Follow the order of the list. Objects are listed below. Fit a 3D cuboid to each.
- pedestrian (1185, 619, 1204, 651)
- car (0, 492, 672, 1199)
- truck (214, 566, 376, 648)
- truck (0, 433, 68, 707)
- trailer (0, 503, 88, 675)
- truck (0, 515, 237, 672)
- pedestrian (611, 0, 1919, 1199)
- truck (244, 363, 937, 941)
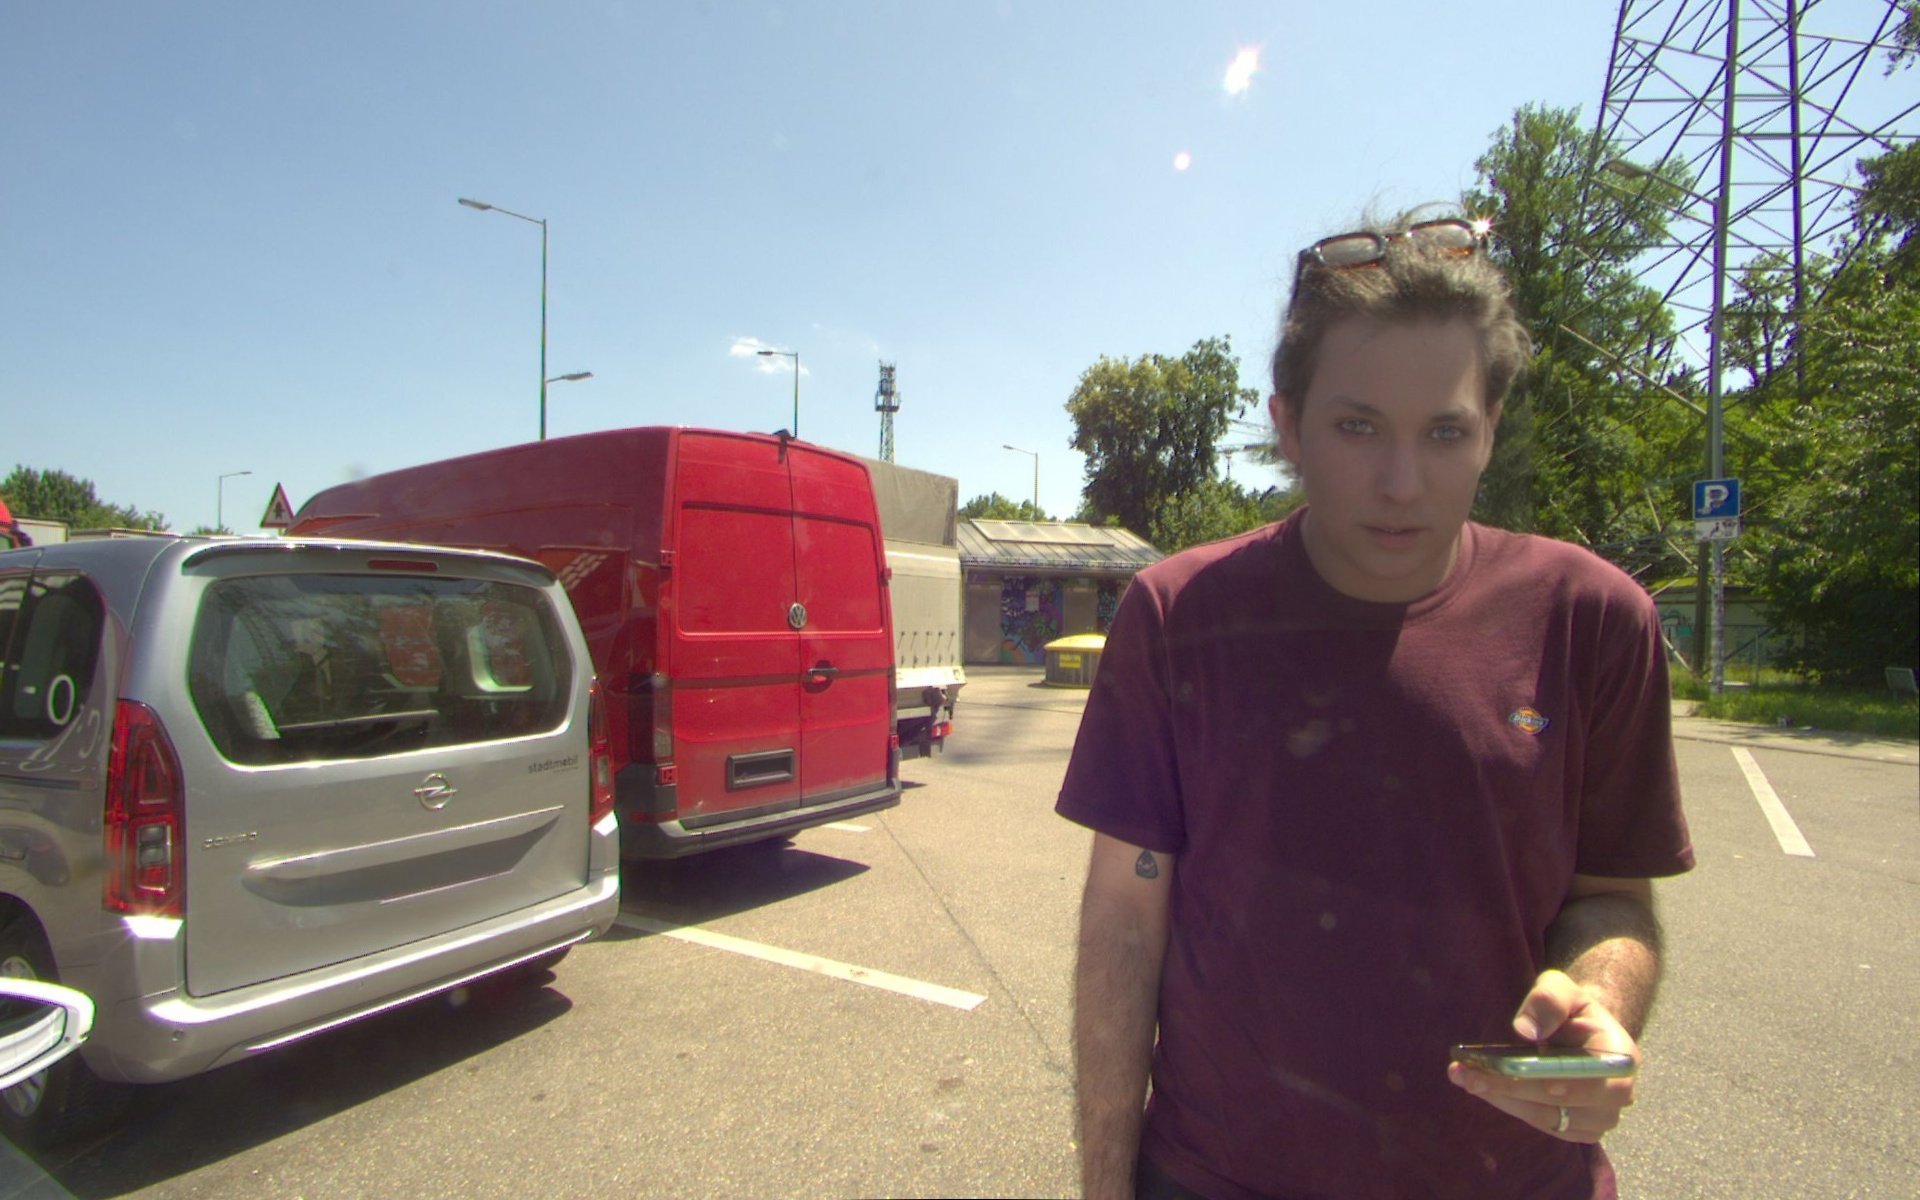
[{"bbox_3d":[10.343,1.554,44.262,0.579,1.402,0.754,1,-1,-8],"label":"pedestrian"},{"bbox_3d":[-3.328,0.639,4.201,3.938,1.776,1.824,0,-1,29],"label":"car"},{"bbox_3d":[-30.676,0.323,46.069,8.407,3.482,3.019,0,-1,33],"label":"truck"},{"bbox_3d":[-14.994,-0.540,11.447,2.646,4.181,10.590,1,-1,-15],"label":"truck"},{"bbox_3d":[-28.769,-0.284,28.026,13.374,4.178,2.871,0,-1,33],"label":"trailer"},{"bbox_3d":[-27.962,-0.125,31.780,14.316,4.175,2.901,0,-3,33],"label":"truck"},{"bbox_3d":[0.351,0.509,0.855,0.926,1.798,0.827,0,-1,28],"label":"pedestrian"},{"bbox_3d":[-2.841,0.263,6.985,5.233,2.658,1.987,0,-1,37],"label":"truck"}]
